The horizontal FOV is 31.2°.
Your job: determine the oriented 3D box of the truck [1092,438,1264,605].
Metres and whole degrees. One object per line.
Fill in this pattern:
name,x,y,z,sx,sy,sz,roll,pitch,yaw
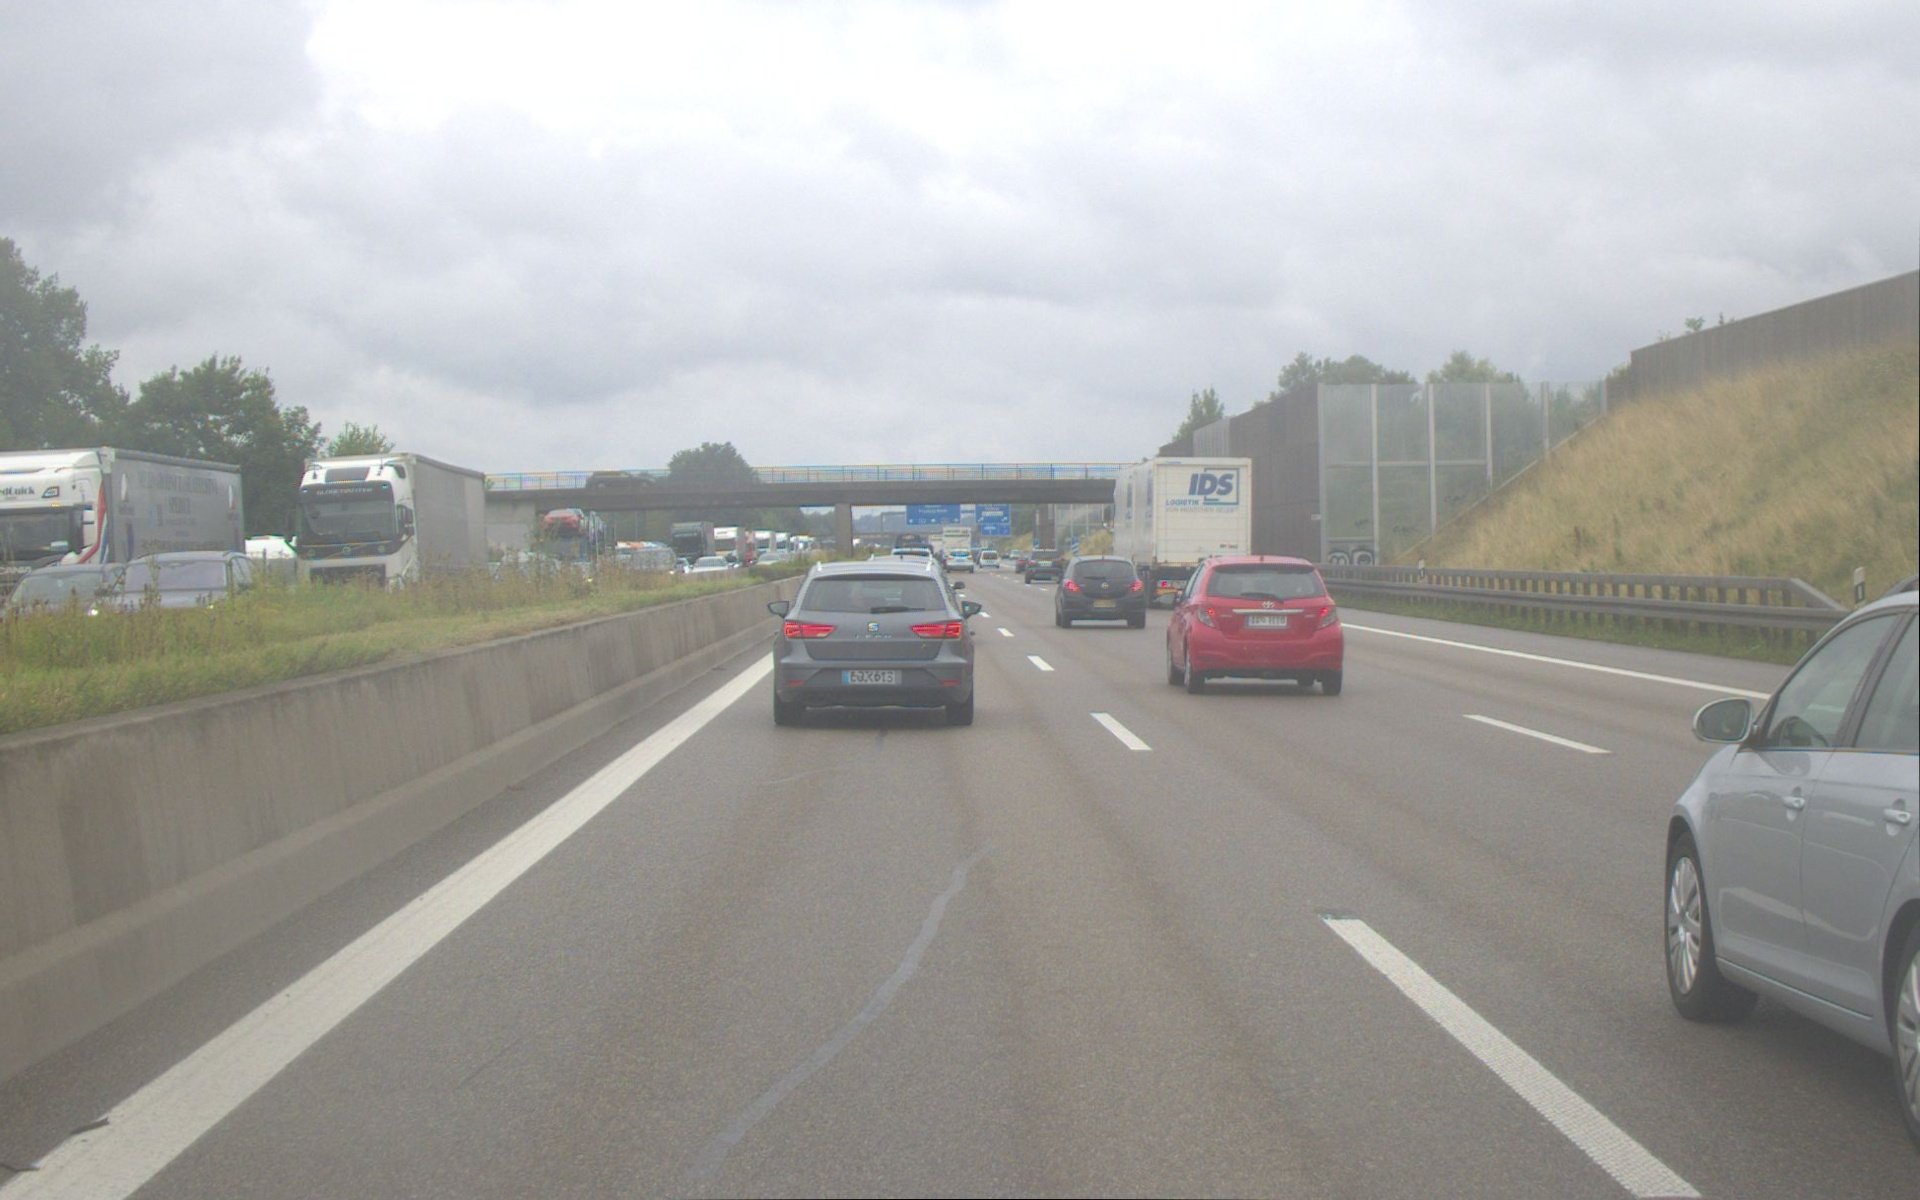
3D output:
truck,6.003,-2.107,98.436,3.283,4.280,19.034,1,0,-1

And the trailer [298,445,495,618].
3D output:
trailer,-14.263,-1.685,88.103,3.086,4.075,12.330,1,0,-1

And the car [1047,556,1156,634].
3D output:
car,2.839,-0.130,69.875,1.921,1.516,4.623,0,1,-1

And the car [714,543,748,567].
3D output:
car,-16.197,-3.197,243.114,2.093,1.704,4.800,0,1,0

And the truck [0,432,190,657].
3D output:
truck,-18.180,-1.093,69.298,3.615,4.260,7.592,1,0,-1

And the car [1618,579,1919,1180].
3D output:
car,3.174,0.673,9.530,1.742,1.420,4.517,-1,1,-1

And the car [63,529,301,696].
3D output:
car,-9.986,0.117,44.486,1.993,2.007,4.801,-1,1,-1

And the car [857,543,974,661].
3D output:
car,-0.740,0.005,56.785,1.825,1.844,4.000,-1,1,-1

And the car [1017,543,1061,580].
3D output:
car,3.740,-1.828,163.193,1.845,1.681,4.000,1,0,-2

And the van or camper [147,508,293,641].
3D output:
van or camper,-20.496,-0.707,95.582,2.708,3.491,7.701,1,0,-3

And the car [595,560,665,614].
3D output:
car,-11.421,-0.465,119.327,1.993,1.758,5.072,-1,1,-1

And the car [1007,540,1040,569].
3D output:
car,4.181,-3.016,226.342,1.993,1.806,4.228,-2,1,-1

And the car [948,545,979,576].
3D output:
car,0.199,-2.641,229.058,1.993,2.007,4.242,1,0,-1

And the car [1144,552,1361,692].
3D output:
car,3.199,0.200,38.474,1.891,1.442,4.685,0,1,-2

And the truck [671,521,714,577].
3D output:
truck,-19.814,-3.746,254.774,2.757,4.036,6.255,1,0,-1

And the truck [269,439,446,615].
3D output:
truck,-14.204,-1.685,81.532,3.092,3.962,6.372,1,0,-1

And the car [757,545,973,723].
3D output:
car,-0.836,0.269,30.602,1.768,1.462,4.000,1,0,-1

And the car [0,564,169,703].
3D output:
car,-13.728,0.483,53.166,1.993,2.007,4.361,-1,1,-1
